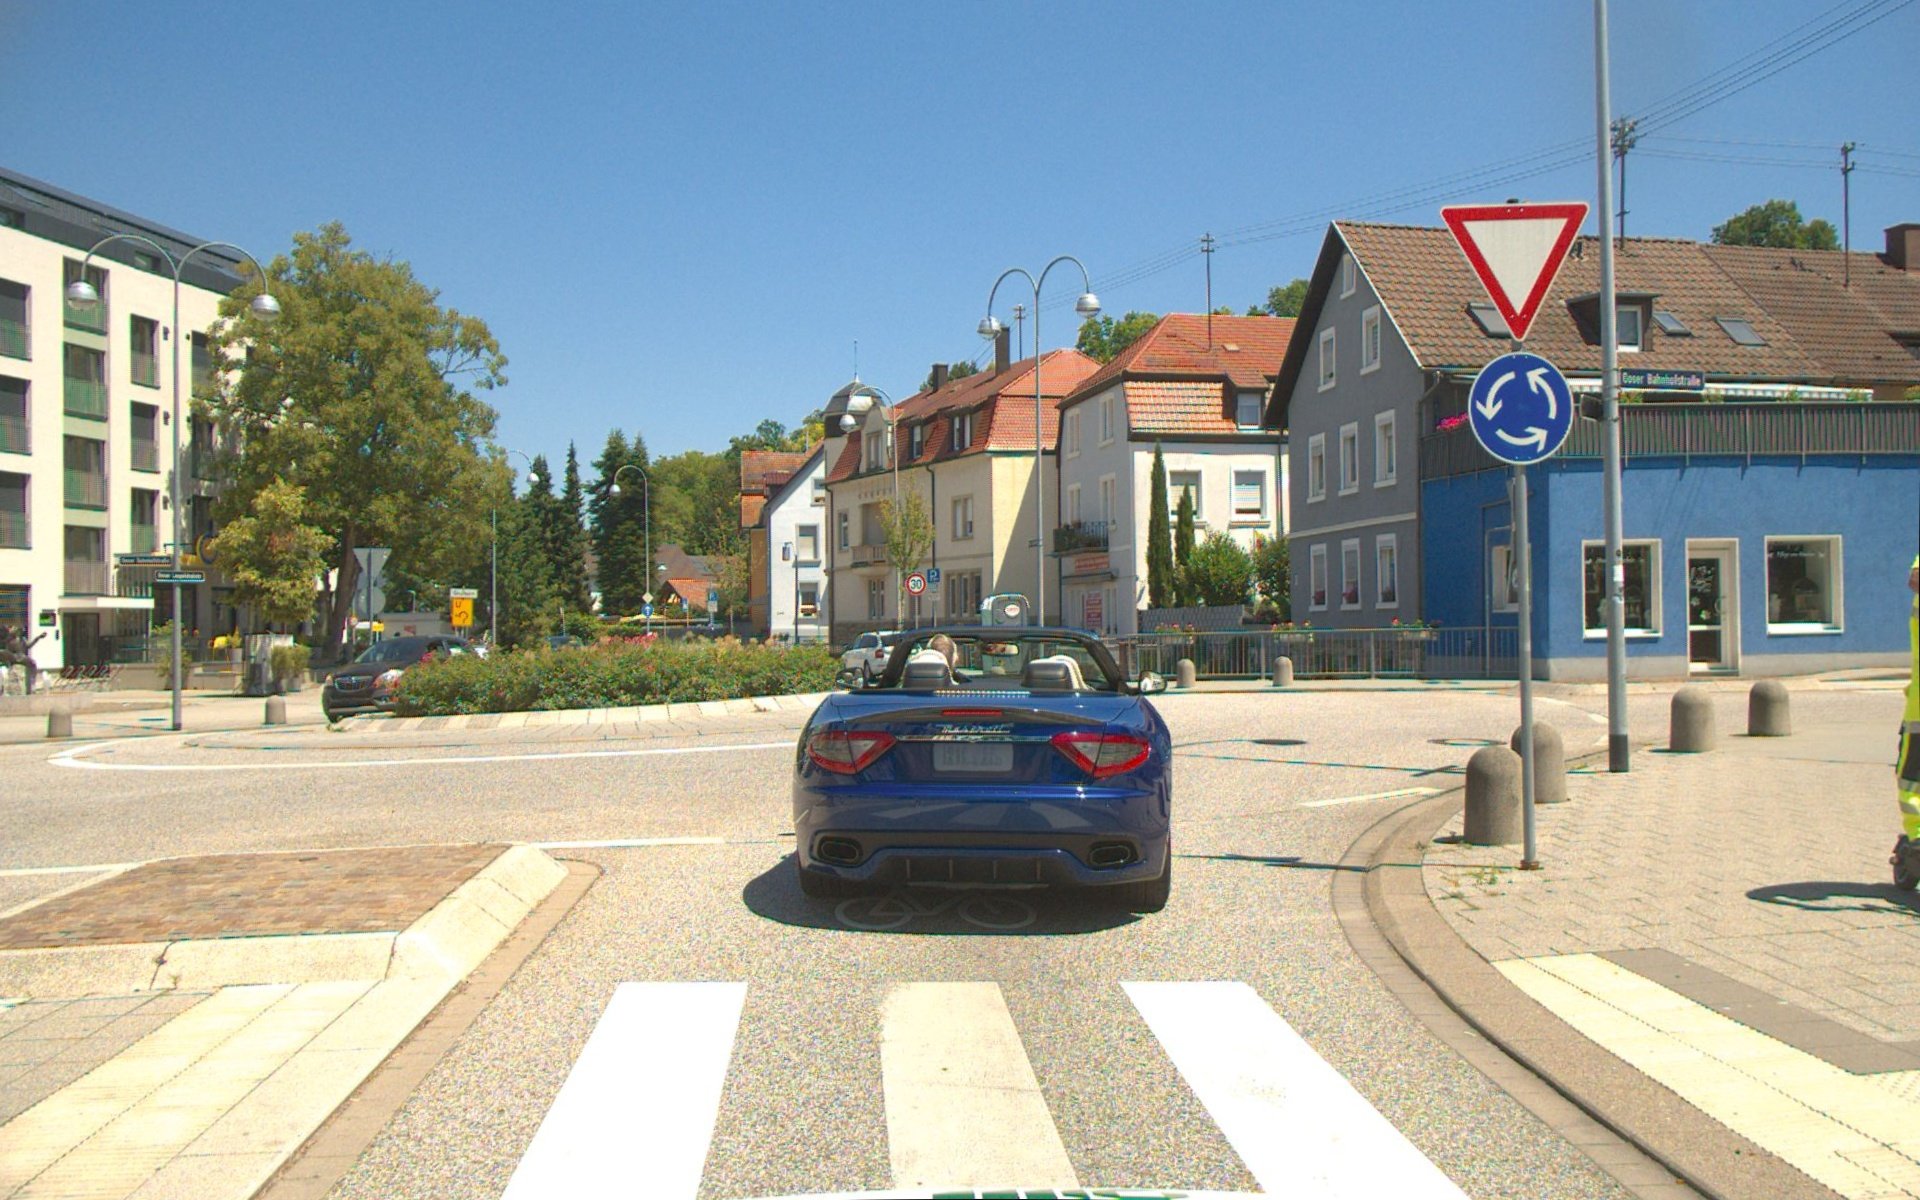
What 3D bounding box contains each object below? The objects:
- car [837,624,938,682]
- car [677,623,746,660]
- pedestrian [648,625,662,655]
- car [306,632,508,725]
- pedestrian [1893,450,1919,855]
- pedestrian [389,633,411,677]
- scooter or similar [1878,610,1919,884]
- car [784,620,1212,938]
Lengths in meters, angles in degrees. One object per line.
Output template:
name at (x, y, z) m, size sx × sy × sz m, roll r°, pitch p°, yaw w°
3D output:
car at (-2.273, 1.656, 50.781) m, size 1.890 × 1.641 × 4.122 m, roll -1°, pitch -2°, yaw -20°
car at (-11.718, 1.972, 77.691) m, size 1.831 × 1.616 × 3.958 m, roll -2°, pitch -1°, yaw -31°
pedestrian at (-16.739, 2.206, 90.779) m, size 0.604 × 1.613 × 0.582 m, roll -1°, pitch -1°, yaw -27°
car at (-10.736, 1.493, 32.418) m, size 1.760 × 1.671 × 4.062 m, roll -2°, pitch -1°, yaw 16°
pedestrian at (4.623, 0.246, 7.356) m, size 0.664 × 1.831 × 0.738 m, roll -3°, pitch 0°, yaw 23°
pedestrian at (-20.798, 2.032, 61.443) m, size 0.523 × 1.603 × 0.563 m, roll -2°, pitch -1°, yaw 10°
scooter or similar at (4.573, 0.664, 7.282) m, size 0.517 × 1.244 × 1.241 m, roll -2°, pitch -1°, yaw 10°
car at (0.191, 0.816, 9.378) m, size 1.871 × 1.384 × 4.285 m, roll 0°, pitch -1°, yaw 1°
